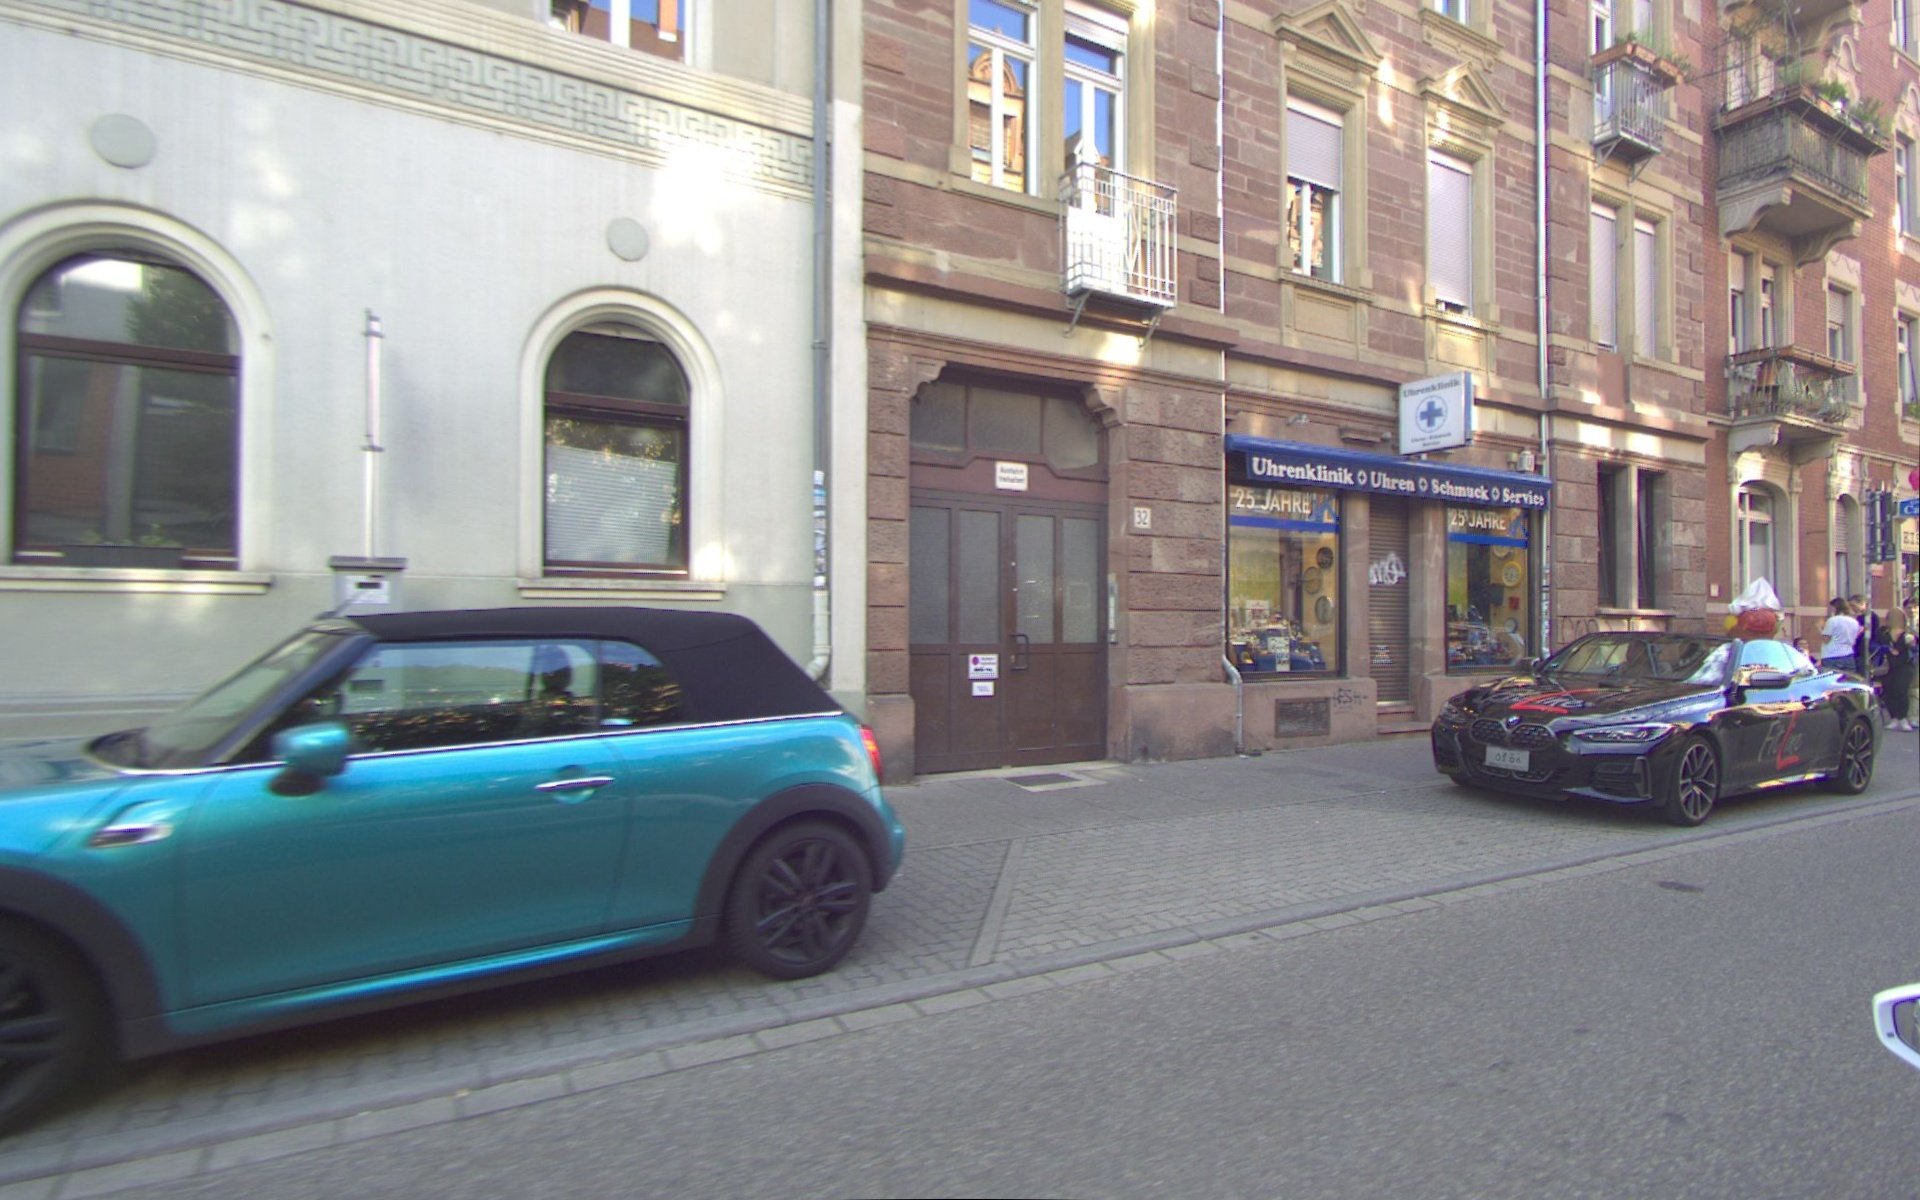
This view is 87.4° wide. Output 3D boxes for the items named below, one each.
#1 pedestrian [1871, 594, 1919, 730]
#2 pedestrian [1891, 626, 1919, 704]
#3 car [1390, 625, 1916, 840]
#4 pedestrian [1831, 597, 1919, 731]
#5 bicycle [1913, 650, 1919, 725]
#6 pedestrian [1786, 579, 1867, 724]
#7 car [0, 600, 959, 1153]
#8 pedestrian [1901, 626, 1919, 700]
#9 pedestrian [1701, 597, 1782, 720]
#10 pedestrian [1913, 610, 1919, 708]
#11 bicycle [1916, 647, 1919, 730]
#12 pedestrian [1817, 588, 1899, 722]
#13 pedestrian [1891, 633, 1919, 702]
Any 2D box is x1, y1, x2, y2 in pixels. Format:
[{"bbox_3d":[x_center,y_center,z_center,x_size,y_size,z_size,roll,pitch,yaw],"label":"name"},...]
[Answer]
[{"bbox_3d":[13.321,0.840,13.938,0.652,1.843,0.763,1,0,1],"label":"pedestrian"},{"bbox_3d":[16.702,1.120,17.400,0.600,1.331,0.719,1,0,-33],"label":"pedestrian"},{"bbox_3d":[6.088,0.928,8.627,5.056,1.369,1.803,1,-1,-31],"label":"car"},{"bbox_3d":[12.645,0.864,13.812,0.652,1.783,0.763,1,0,1],"label":"pedestrian"},{"bbox_3d":[13.854,1.233,13.455,0.402,1.044,1.684,1,0,-9],"label":"bicycle"},{"bbox_3d":[12.547,0.735,14.564,0.617,2.040,0.645,1,0,-1],"label":"pedestrian"},{"bbox_3d":[-2.113,0.740,3.858,3.969,1.434,1.660,1,0,-33],"label":"car"},{"bbox_3d":[17.608,1.142,18.209,0.435,1.331,0.713,1,0,-33],"label":"pedestrian"},{"bbox_3d":[11.679,0.854,15.029,0.652,1.783,0.690,1,0,1],"label":"pedestrian"},{"bbox_3d":[16.349,0.984,16.720,0.577,1.638,0.551,1,0,-29],"label":"pedestrian"},{"bbox_3d":[13.198,1.205,12.998,0.366,1.132,1.583,1,0,9],"label":"bicycle"},{"bbox_3d":[13.180,0.793,14.756,0.589,1.917,0.648,1,0,1],"label":"pedestrian"},{"bbox_3d":[17.177,1.201,17.922,0.580,1.212,0.704,1,0,-33],"label":"pedestrian"}]
